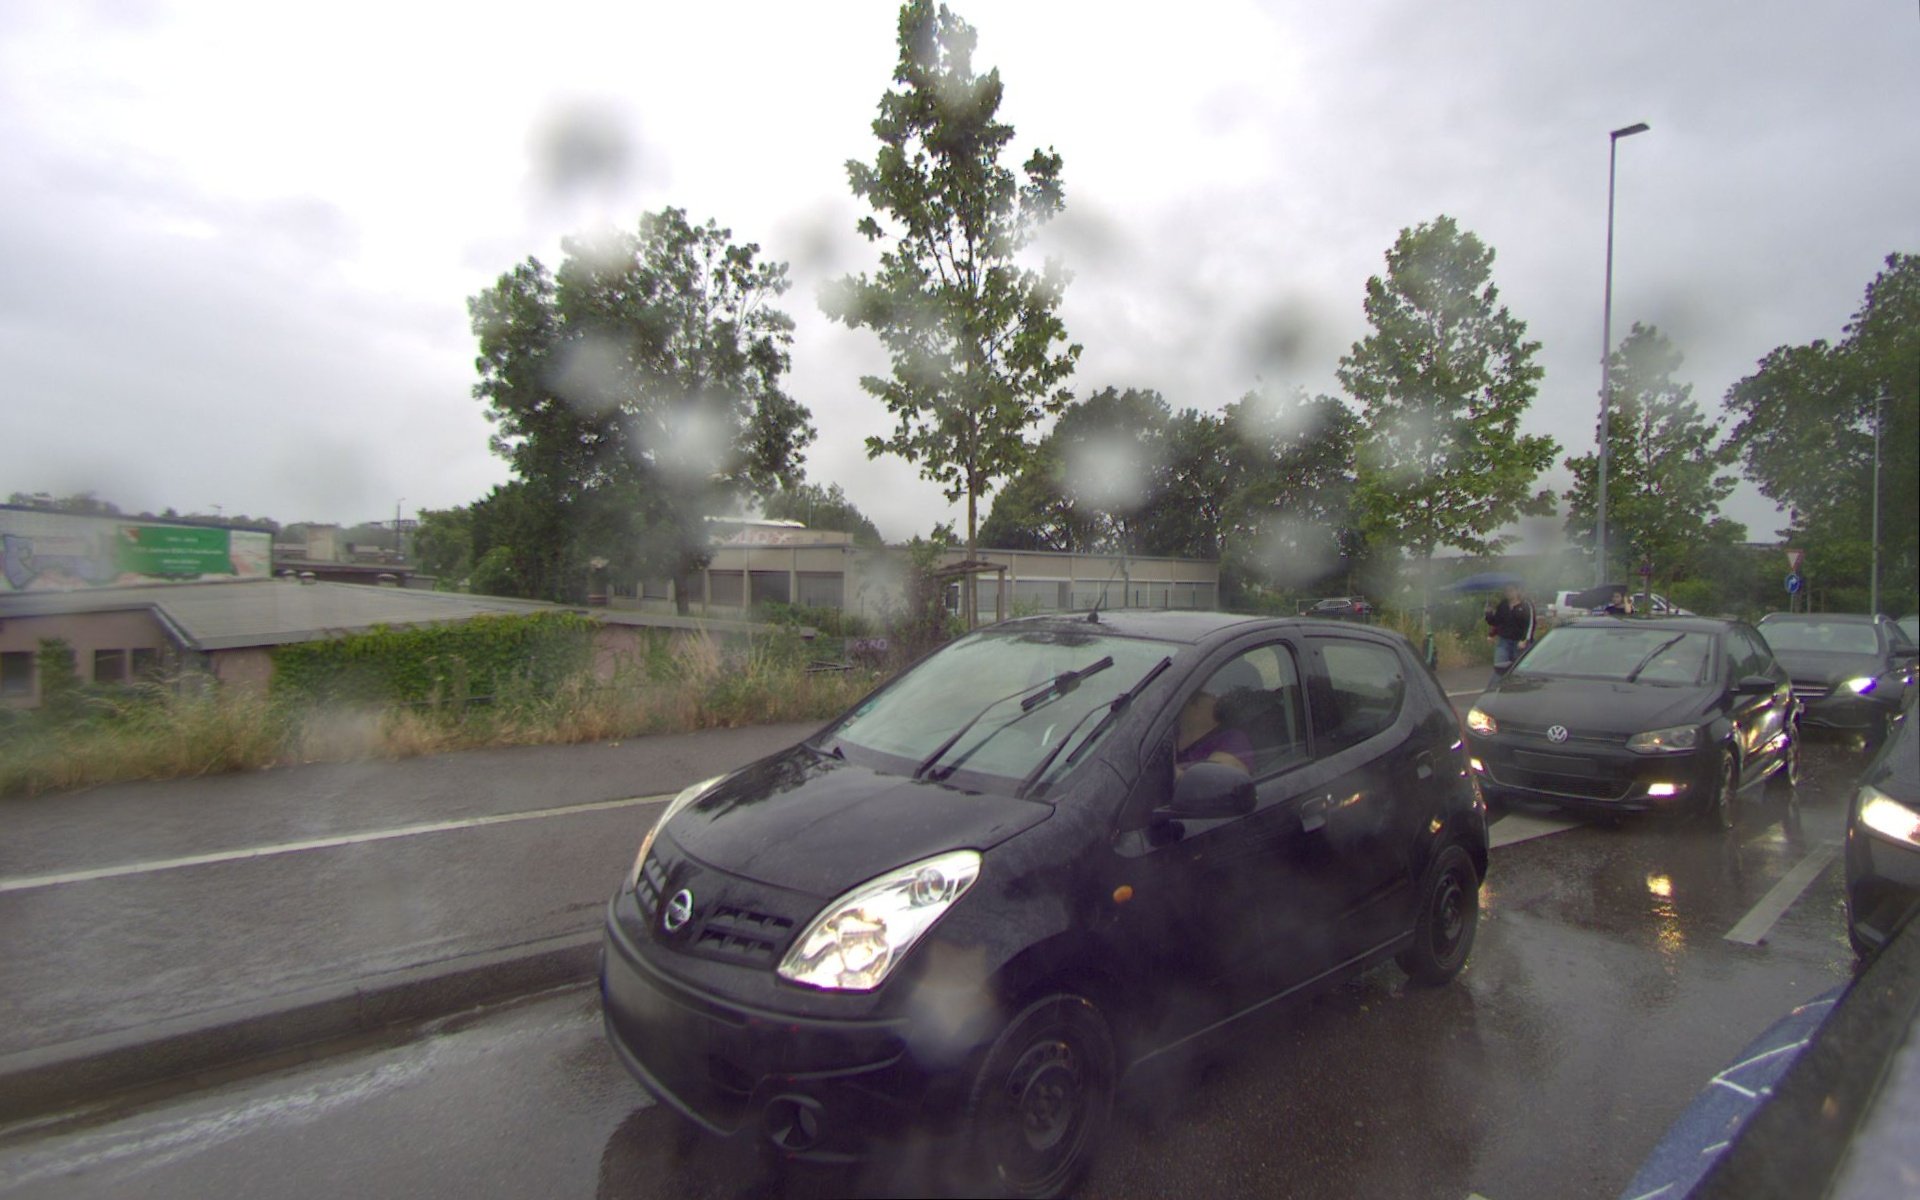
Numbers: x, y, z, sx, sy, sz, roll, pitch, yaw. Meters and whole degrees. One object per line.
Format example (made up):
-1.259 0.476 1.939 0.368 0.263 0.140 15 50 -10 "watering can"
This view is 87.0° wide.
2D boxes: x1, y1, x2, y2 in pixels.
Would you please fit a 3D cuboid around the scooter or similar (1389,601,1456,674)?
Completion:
7.888 0.612 17.243 1.747 1.144 0.380 -1 2 -43 "scooter or similar"

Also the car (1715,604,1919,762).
10.825 0.876 12.459 3.747 1.594 1.697 -1 0 -41 "car"

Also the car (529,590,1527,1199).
0.537 0.711 3.695 3.561 1.447 1.631 0 0 -42 "car"

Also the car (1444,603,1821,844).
5.378 0.757 7.934 3.561 1.447 1.631 0 0 -42 "car"

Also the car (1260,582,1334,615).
21.162 -0.105 63.610 1.964 2.039 3.996 0 0 -38 "car"

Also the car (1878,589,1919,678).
17.925 0.564 18.207 4.052 1.488 1.702 -1 1 -42 "car"

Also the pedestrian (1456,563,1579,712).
7.138 0.434 12.972 0.953 1.777 1.081 0 3 -42 "pedestrian"

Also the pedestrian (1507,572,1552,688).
8.440 0.431 15.005 0.433 1.682 0.400 0 3 -42 "pedestrian"

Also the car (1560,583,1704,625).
28.114 0.154 42.454 1.966 1.670 4.752 -1 1 -42 "car"

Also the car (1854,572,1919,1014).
5.462 0.683 4.510 4.091 1.607 1.688 -1 0 -41 "car"

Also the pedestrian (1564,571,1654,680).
10.955 0.399 17.090 0.876 1.729 1.024 0 3 -41 "pedestrian"
